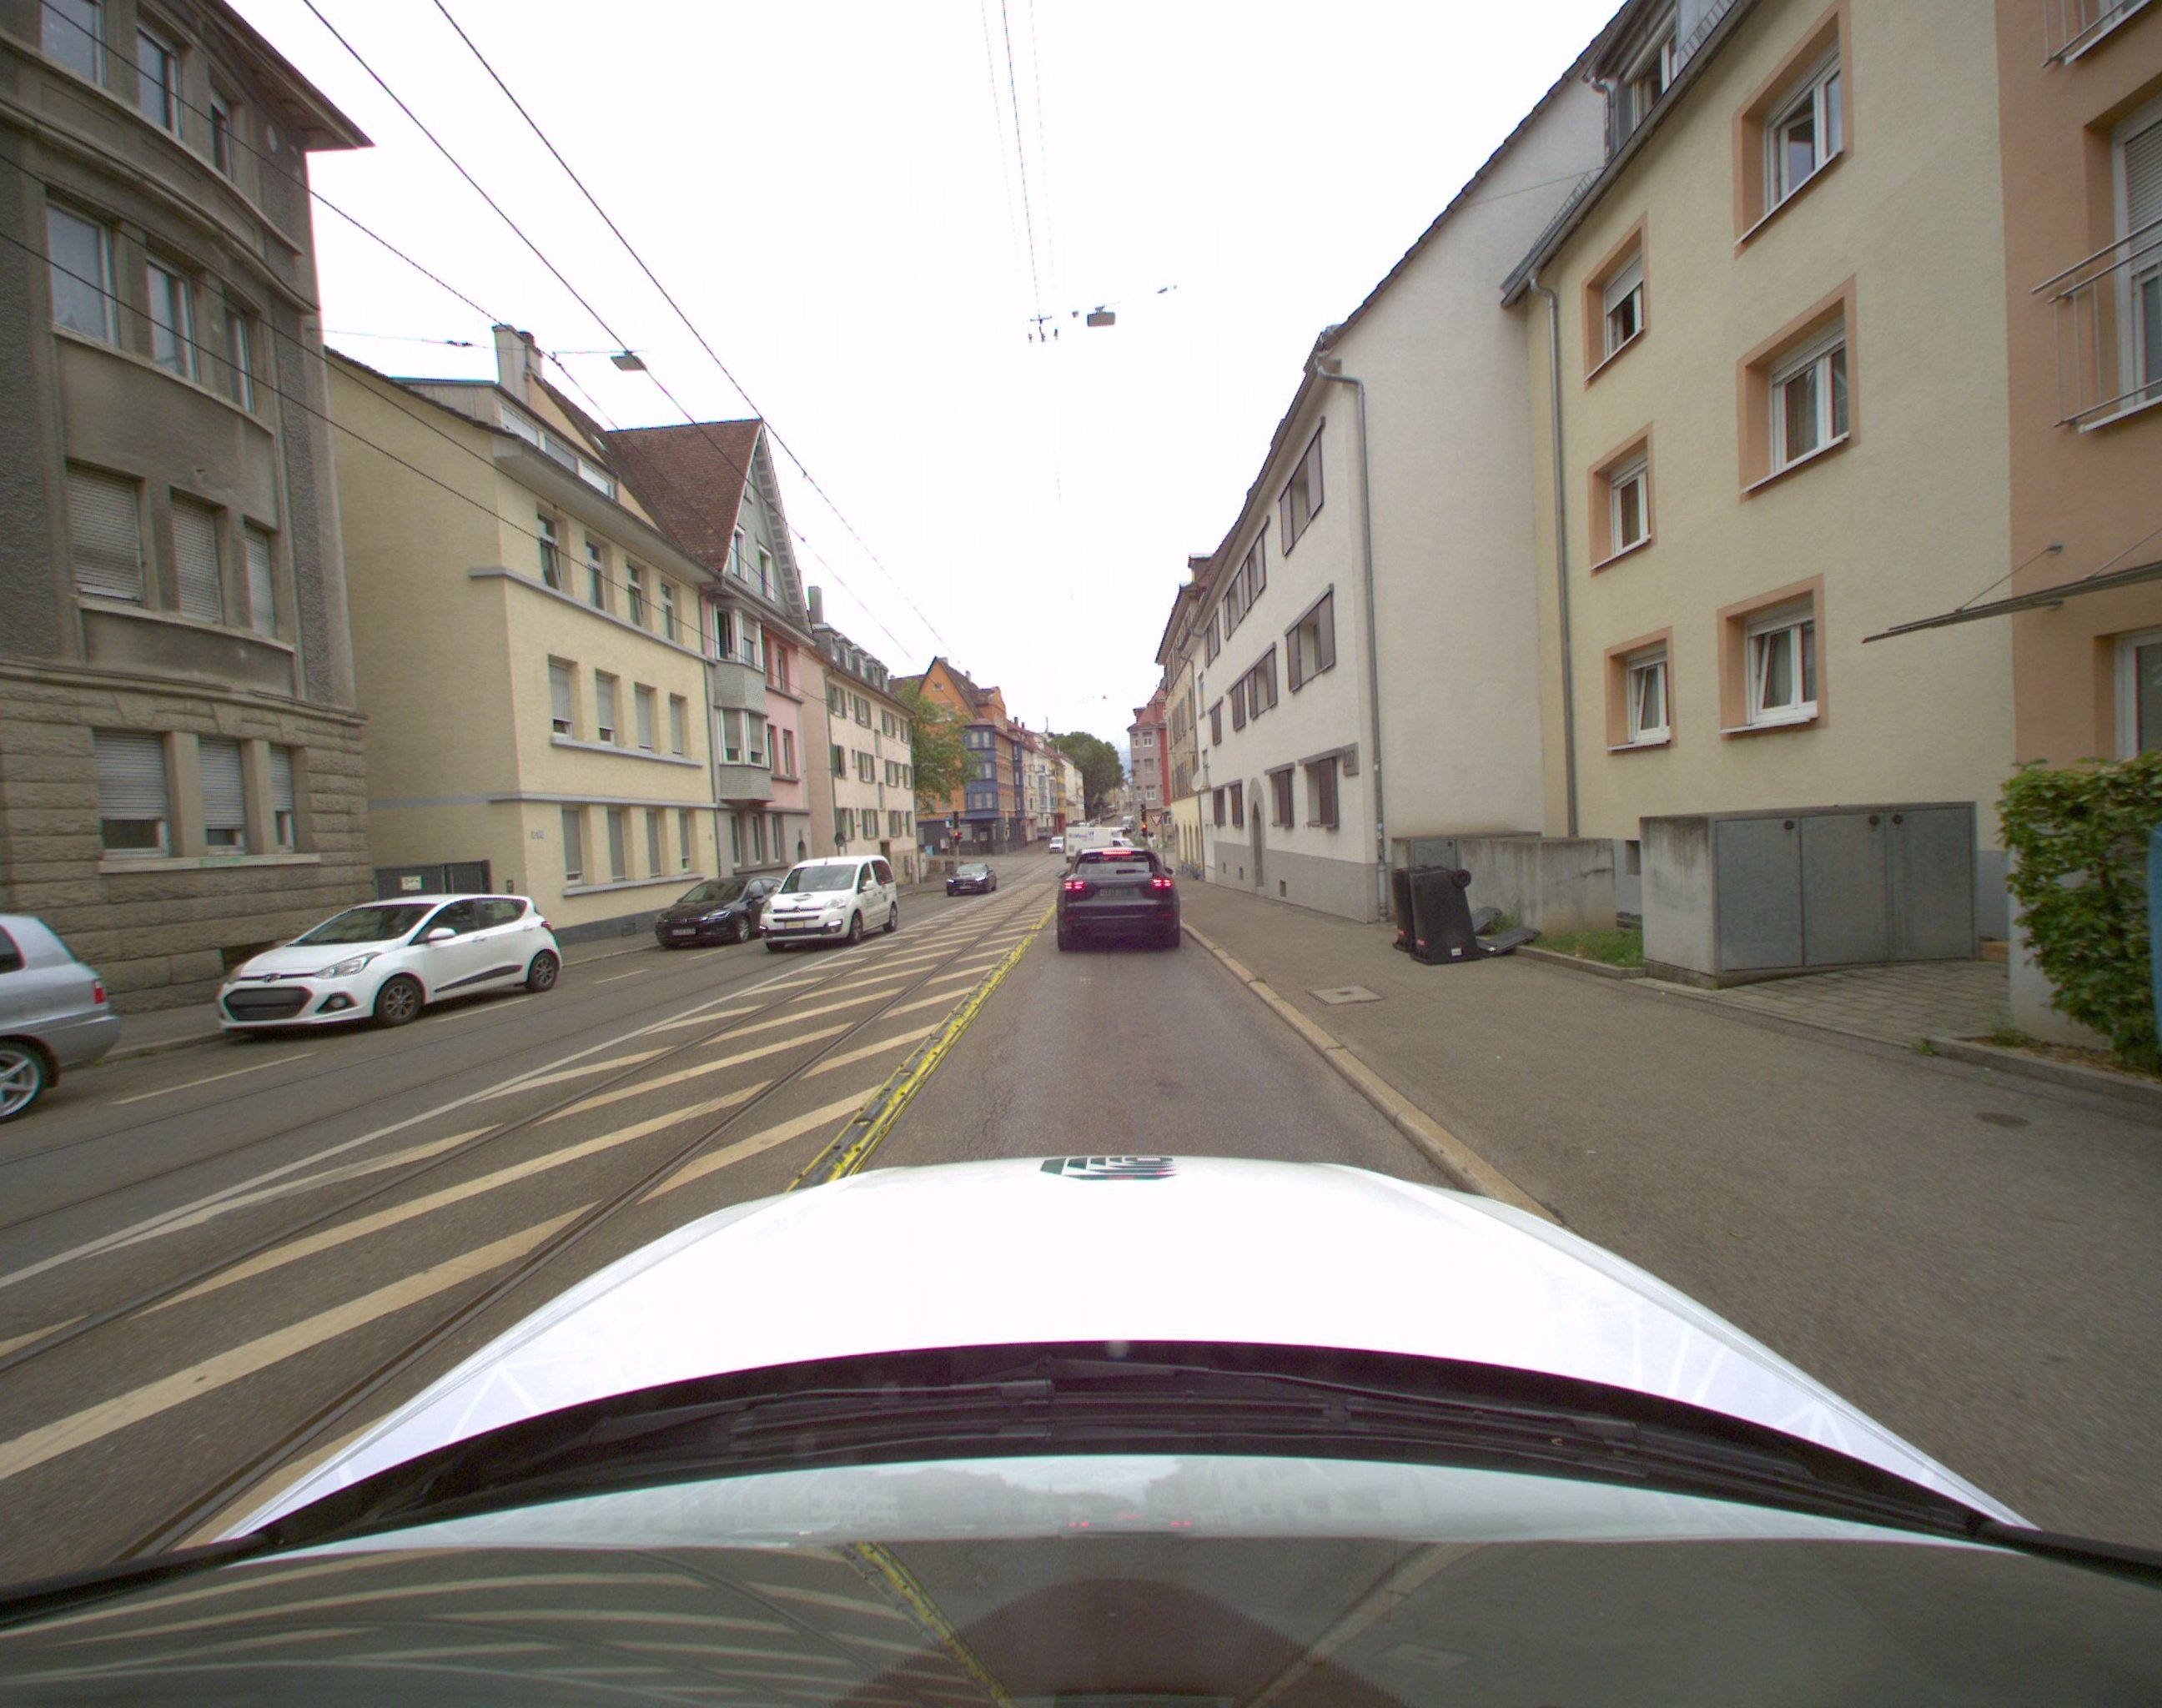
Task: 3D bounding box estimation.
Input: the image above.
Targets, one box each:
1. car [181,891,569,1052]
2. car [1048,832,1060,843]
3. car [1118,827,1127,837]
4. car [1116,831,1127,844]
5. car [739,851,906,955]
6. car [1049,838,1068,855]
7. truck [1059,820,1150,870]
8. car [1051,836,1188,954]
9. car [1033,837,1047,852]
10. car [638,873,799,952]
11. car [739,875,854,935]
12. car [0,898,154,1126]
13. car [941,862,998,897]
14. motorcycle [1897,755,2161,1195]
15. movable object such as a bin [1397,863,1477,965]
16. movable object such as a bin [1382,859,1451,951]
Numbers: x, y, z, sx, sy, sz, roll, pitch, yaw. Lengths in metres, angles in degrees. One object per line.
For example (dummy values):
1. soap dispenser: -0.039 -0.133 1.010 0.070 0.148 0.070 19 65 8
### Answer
1. car: -8.611 1.323 10.433 1.615 1.463 3.686 -4 -1 2
2. car: -3.818 -2.390 116.757 1.389 1.450 3.360 -3 0 2
3. car: 7.216 -3.807 142.171 1.389 1.450 3.360 -3 0 2
4. car: 5.781 -2.348 116.831 1.389 1.722 3.360 -3 0 2
5. car: -5.201 0.909 17.060 1.913 1.819 4.220 -3 0 2
6. car: -2.587 -0.857 94.799 1.744 1.759 4.256 -3 0 2
7. truck: 1.728 -0.663 61.548 6.320 3.370 2.362 -3 -1 28
8. car: 0.625 0.632 14.339 1.986 1.676 4.001 -3 0 1
9. car: -5.259 -1.193 103.902 1.389 1.722 3.360 -3 0 2
10. car: -8.223 1.262 18.990 1.615 1.473 4.555 -4 -1 0
11. car: -8.089 1.402 23.553 1.730 1.410 4.001 -3 0 1
12. car: -8.697 1.229 4.692 1.615 1.604 4.350 -4 0 0
13. car: -5.113 1.130 38.007 1.914 1.424 4.498 -3 0 1
14. motorcycle: 3.951 0.382 2.246 0.835 1.456 2.554 -3 0 2
15. movable object such as a bin: 4.048 0.664 9.309 0.586 1.080 0.692 -3 -1 3
16. movable object such as a bin: 4.199 0.625 10.216 0.608 1.080 0.542 -3 -1 3
